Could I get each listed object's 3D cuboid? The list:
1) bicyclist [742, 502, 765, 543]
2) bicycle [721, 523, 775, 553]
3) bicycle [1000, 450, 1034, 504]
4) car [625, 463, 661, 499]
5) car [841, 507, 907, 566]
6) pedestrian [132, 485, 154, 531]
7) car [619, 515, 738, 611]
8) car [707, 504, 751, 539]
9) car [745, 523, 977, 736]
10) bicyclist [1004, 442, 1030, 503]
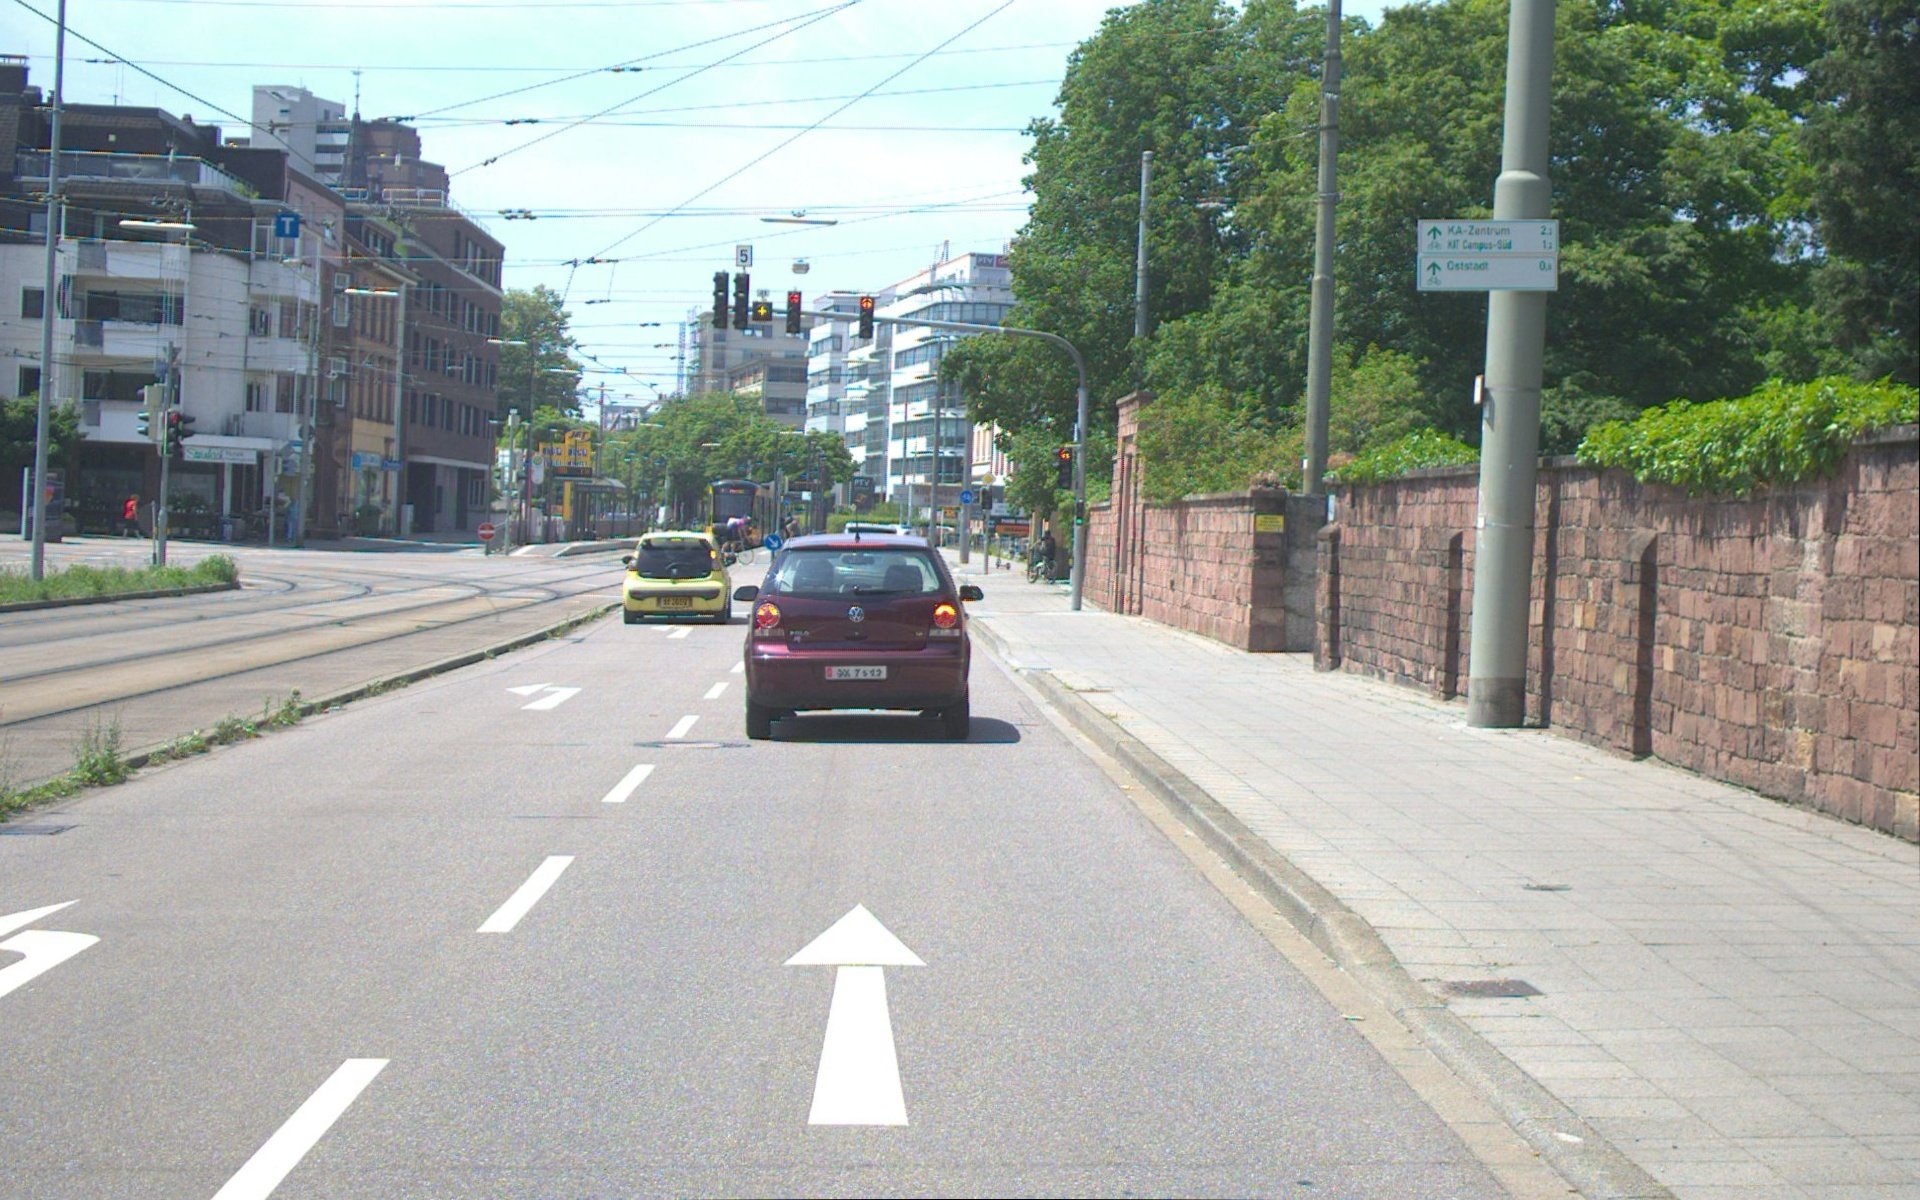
[{"bbox_3d":[-7.243,-2.701,120.302,0.765,1.401,0.506,1,1,-5],"label":"bicyclist"},{"bbox_3d":[-7.414,-2.167,120.253,1.865,1.004,0.579,1,1,-5],"label":"bicycle"},{"bbox_3d":[1.701,-3.686,103.329,0.835,1.520,4.000,1,1,-1],"label":"bicycle"},{"bbox_3d":[-18.804,-7.068,204.053,1.735,2.006,4.001,2,1,-1],"label":"car"},{"bbox_3d":[-2.117,-1.565,84.036,1.572,1.411,3.720,0,1,-2],"label":"car"},{"bbox_3d":[-27.889,-3.137,117.392,0.484,1.535,0.537,1,1,23],"label":"pedestrian"},{"bbox_3d":[-4.463,-0.617,54.875,1.723,1.440,3.293,1,2,-2],"label":"car"},{"bbox_3d":[-11.184,-3.808,166.854,1.938,1.635,4.000,1,1,-2],"label":"car"},{"bbox_3d":[-0.746,0.163,25.877,1.610,1.458,4.086,0,1,-2],"label":"car"},{"bbox_3d":[1.710,-3.838,103.491,0.721,1.812,0.889,1,1,-1],"label":"bicyclist"}]
